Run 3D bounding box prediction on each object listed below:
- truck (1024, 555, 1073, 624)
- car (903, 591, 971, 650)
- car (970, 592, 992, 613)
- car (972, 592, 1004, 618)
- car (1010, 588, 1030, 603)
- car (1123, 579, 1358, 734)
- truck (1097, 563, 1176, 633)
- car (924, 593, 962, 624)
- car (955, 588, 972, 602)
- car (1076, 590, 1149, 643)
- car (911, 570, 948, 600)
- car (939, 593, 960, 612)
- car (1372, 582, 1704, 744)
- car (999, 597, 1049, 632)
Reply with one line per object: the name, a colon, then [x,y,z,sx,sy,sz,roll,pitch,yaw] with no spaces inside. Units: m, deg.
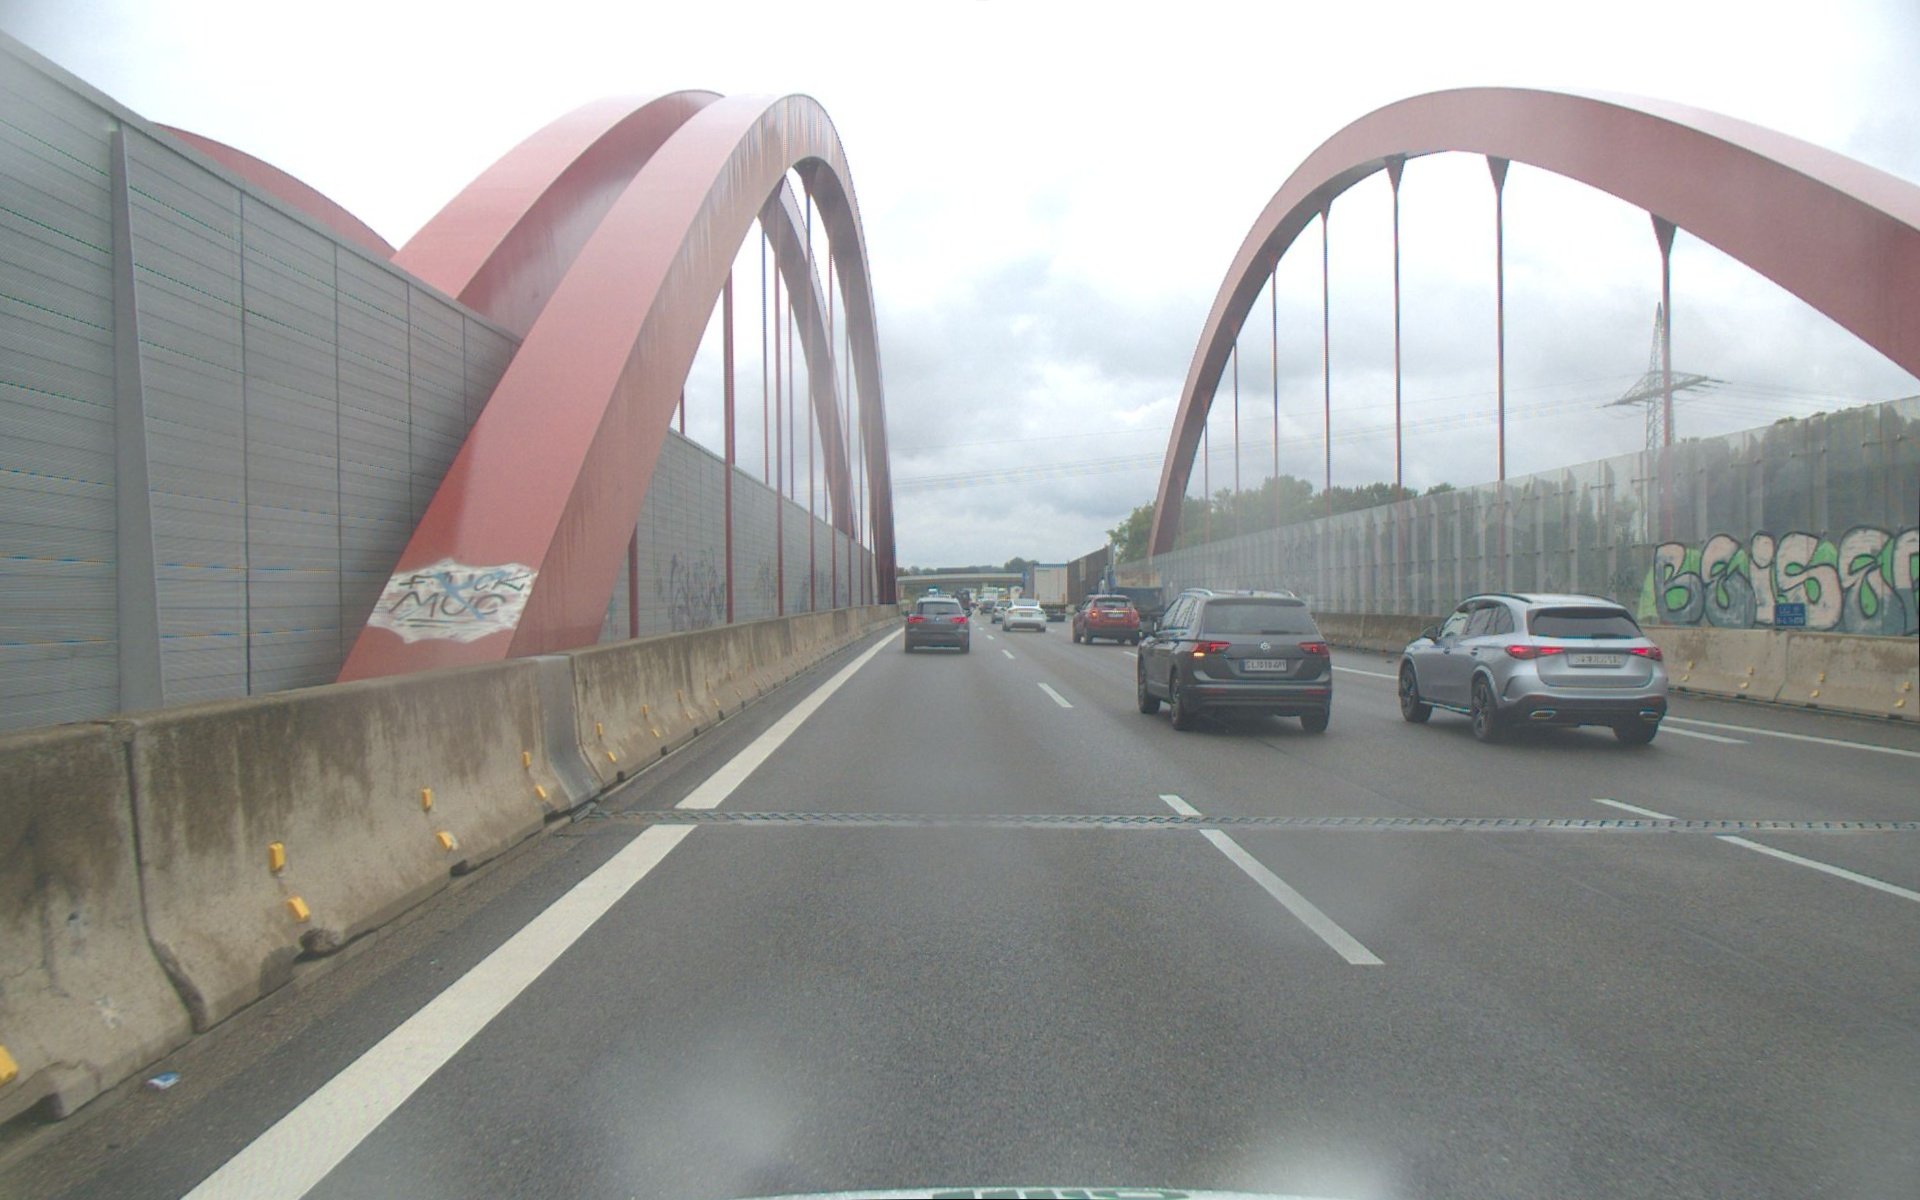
truck: [6.395,-0.743,120.493,2.983,4.817,7.678,1,0,-1]
car: [-0.620,0.516,44.152,1.728,1.478,3.999,0,0,-1]
car: [2.044,0.249,163.104,1.953,2.049,3.999,1,0,-1]
car: [1.695,0.312,101.107,1.668,1.570,3.836,0,0,-3]
car: [6.400,-0.498,177.451,1.953,1.545,4.000,0,0,0]
car: [3.279,0.616,20.167,1.874,1.699,4.100,0,0,-5]
truck: [6.729,-0.069,63.758,2.313,2.550,6.142,0,0,-1]
car: [-0.817,0.382,78.072,1.746,1.431,3.625,0,0,-2]
car: [0.453,-0.652,198.147,1.952,1.652,4.000,0,0,1]
car: [4.966,0.512,54.358,1.918,1.676,3.998,0,0,-2]
car: [-1.737,-0.815,92.414,1.953,1.612,3.998,-1,0,-2]
car: [-1.064,0.261,160.544,1.953,1.847,3.999,0,0,-1]
car: [6.638,0.651,19.749,1.953,1.647,5.326,1,0,-2]
car: [2.821,0.627,73.744,1.953,1.512,3.998,0,0,-2]
